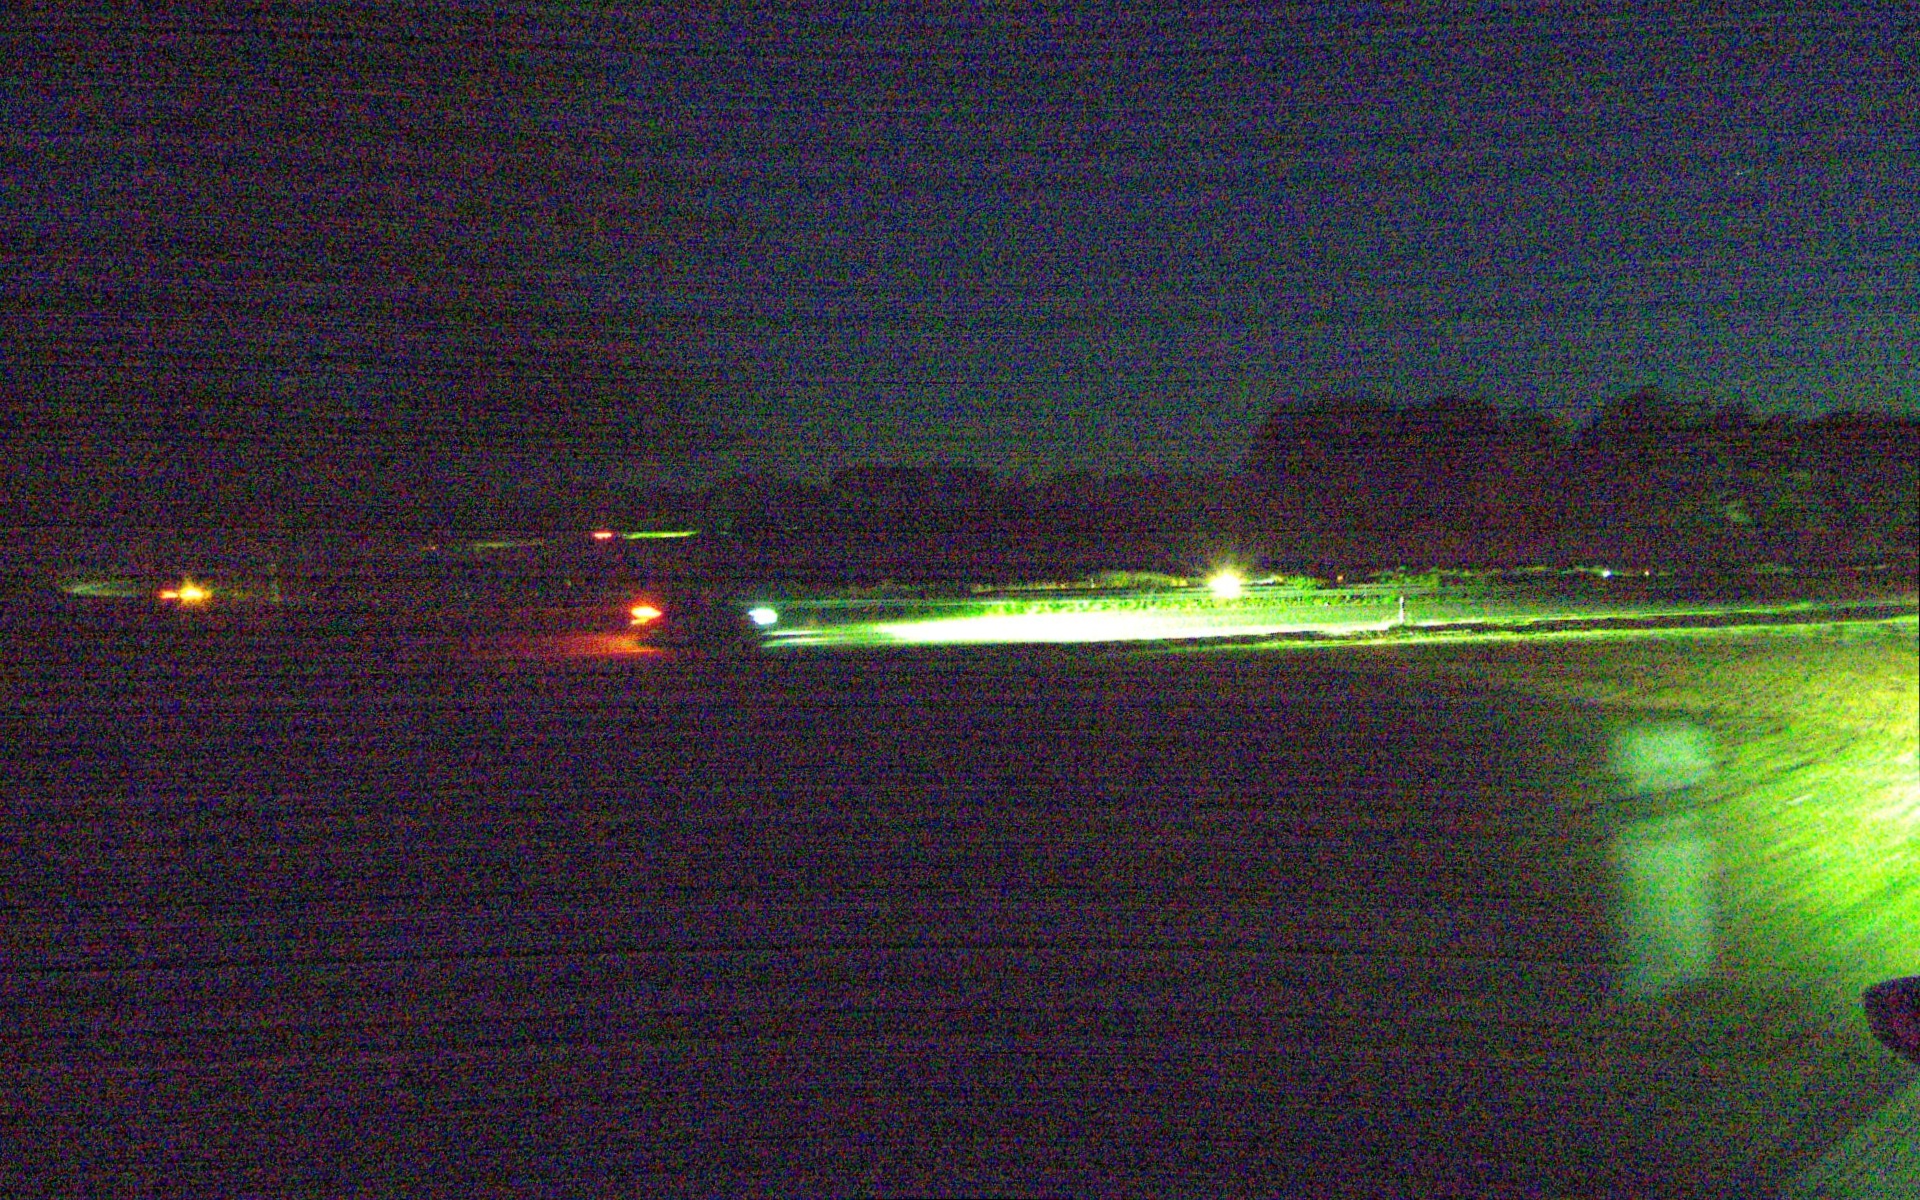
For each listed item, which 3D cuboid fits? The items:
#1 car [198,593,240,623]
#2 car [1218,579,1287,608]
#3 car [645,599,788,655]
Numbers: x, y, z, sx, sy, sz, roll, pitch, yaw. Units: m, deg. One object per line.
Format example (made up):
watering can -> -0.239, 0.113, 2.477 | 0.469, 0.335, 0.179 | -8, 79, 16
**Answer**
car -> -46.585, 0.460, 63.116 | 1.861, 1.808, 3.954 | 0, 0, -40
car -> 18.489, -0.423, 63.480 | 3.939, 1.781, 1.780 | -1, 1, -20
car -> -8.333, 0.888, 34.308 | 4.571, 1.630, 1.937 | -1, 4, -19
